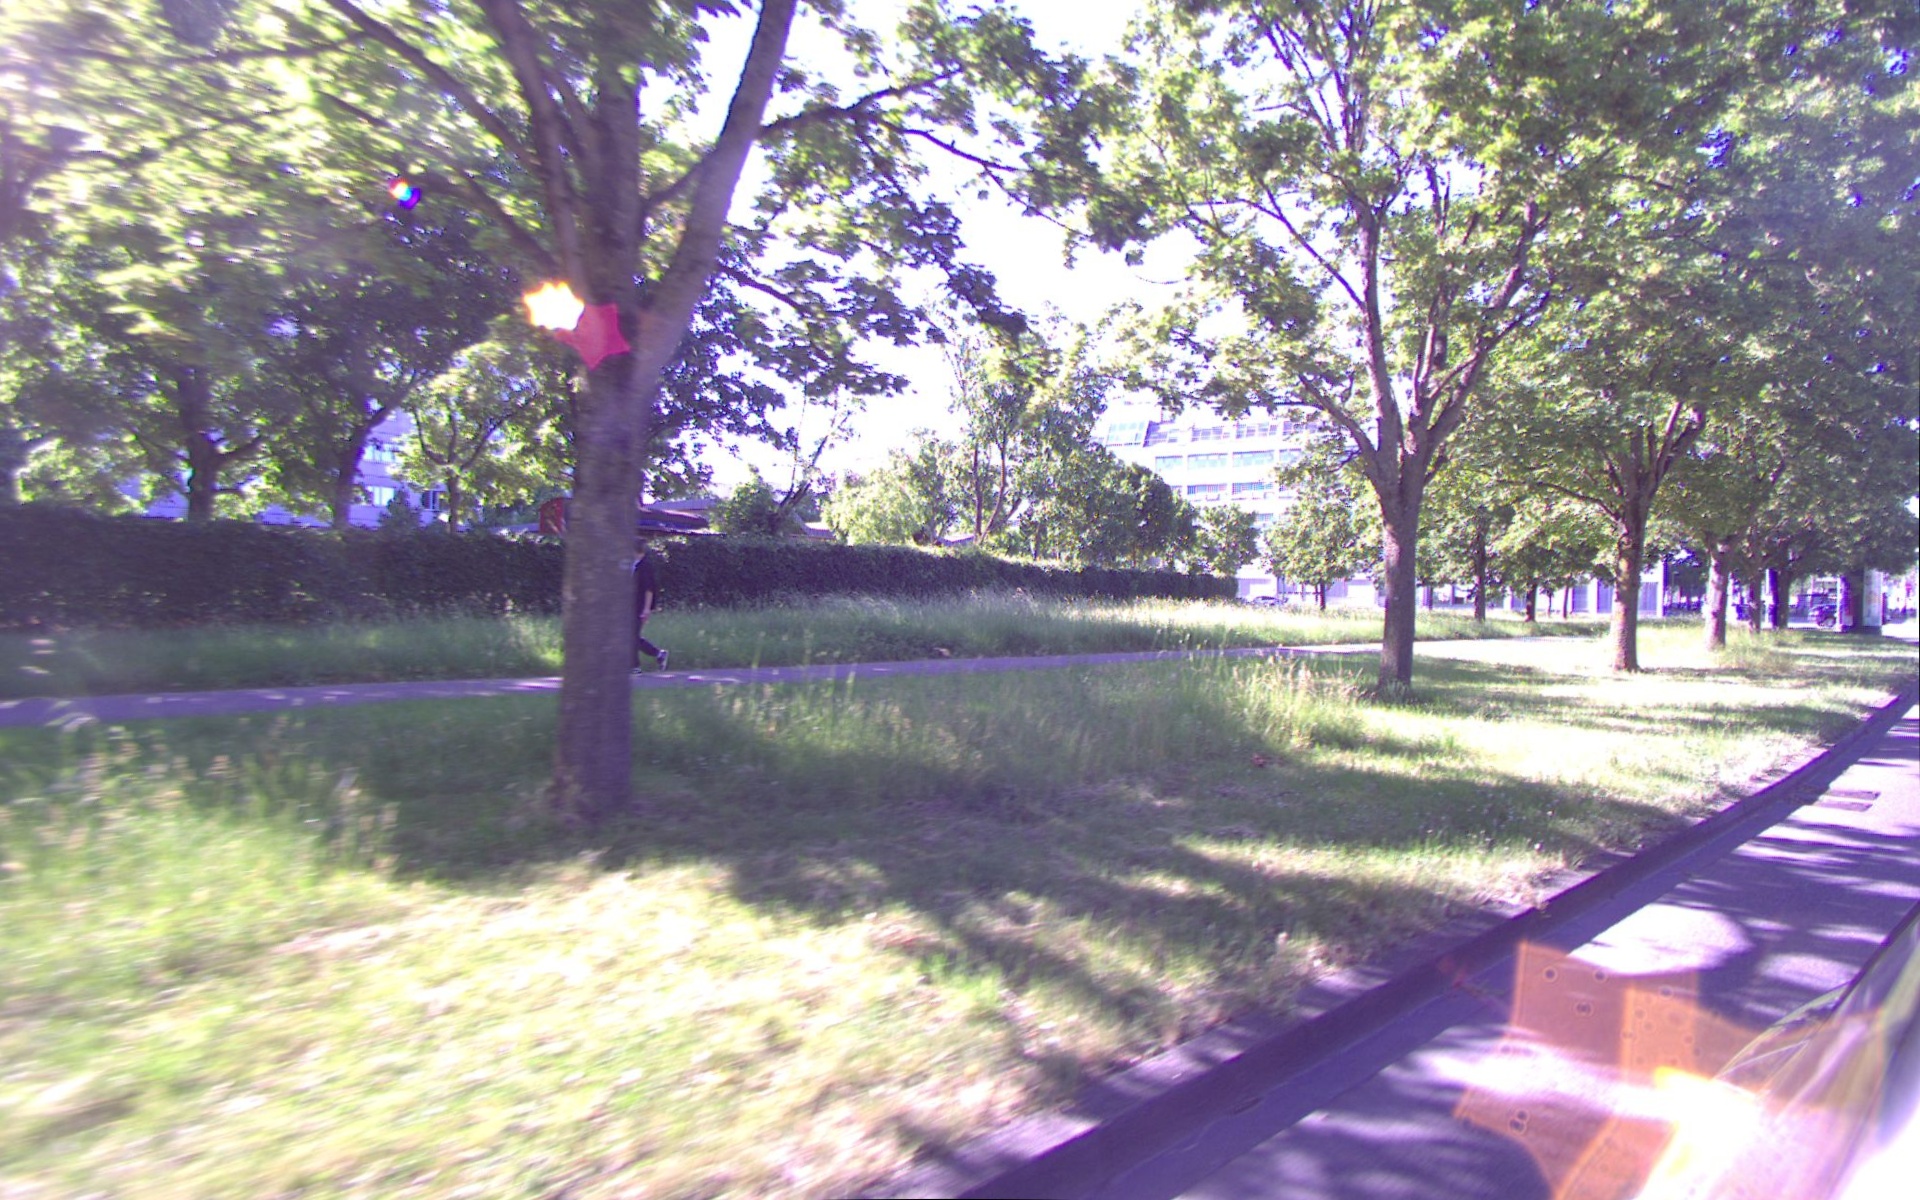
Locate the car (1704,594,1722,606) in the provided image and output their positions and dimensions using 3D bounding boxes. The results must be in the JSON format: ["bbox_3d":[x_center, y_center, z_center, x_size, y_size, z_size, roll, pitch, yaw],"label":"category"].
[{"bbox_3d":[111.342,-0.026,149.617,1.681,1.731,4.193,1,1,31],"label":"car"}]

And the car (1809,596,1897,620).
[{"bbox_3d":[65.783,0.546,74.669,4.600,1.643,1.976,1,1,34],"label":"car"}]

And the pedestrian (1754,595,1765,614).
[{"bbox_3d":[72.999,0.424,92.422,0.729,1.718,0.725,1,0,38],"label":"pedestrian"}]

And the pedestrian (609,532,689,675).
[{"bbox_3d":[-4.118,0.039,13.402,0.780,1.826,0.717,0,0,-41],"label":"pedestrian"}]

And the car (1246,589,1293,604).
[{"bbox_3d":[31.336,-0.317,102.592,4.250,1.438,1.899,1,1,30],"label":"car"}]
